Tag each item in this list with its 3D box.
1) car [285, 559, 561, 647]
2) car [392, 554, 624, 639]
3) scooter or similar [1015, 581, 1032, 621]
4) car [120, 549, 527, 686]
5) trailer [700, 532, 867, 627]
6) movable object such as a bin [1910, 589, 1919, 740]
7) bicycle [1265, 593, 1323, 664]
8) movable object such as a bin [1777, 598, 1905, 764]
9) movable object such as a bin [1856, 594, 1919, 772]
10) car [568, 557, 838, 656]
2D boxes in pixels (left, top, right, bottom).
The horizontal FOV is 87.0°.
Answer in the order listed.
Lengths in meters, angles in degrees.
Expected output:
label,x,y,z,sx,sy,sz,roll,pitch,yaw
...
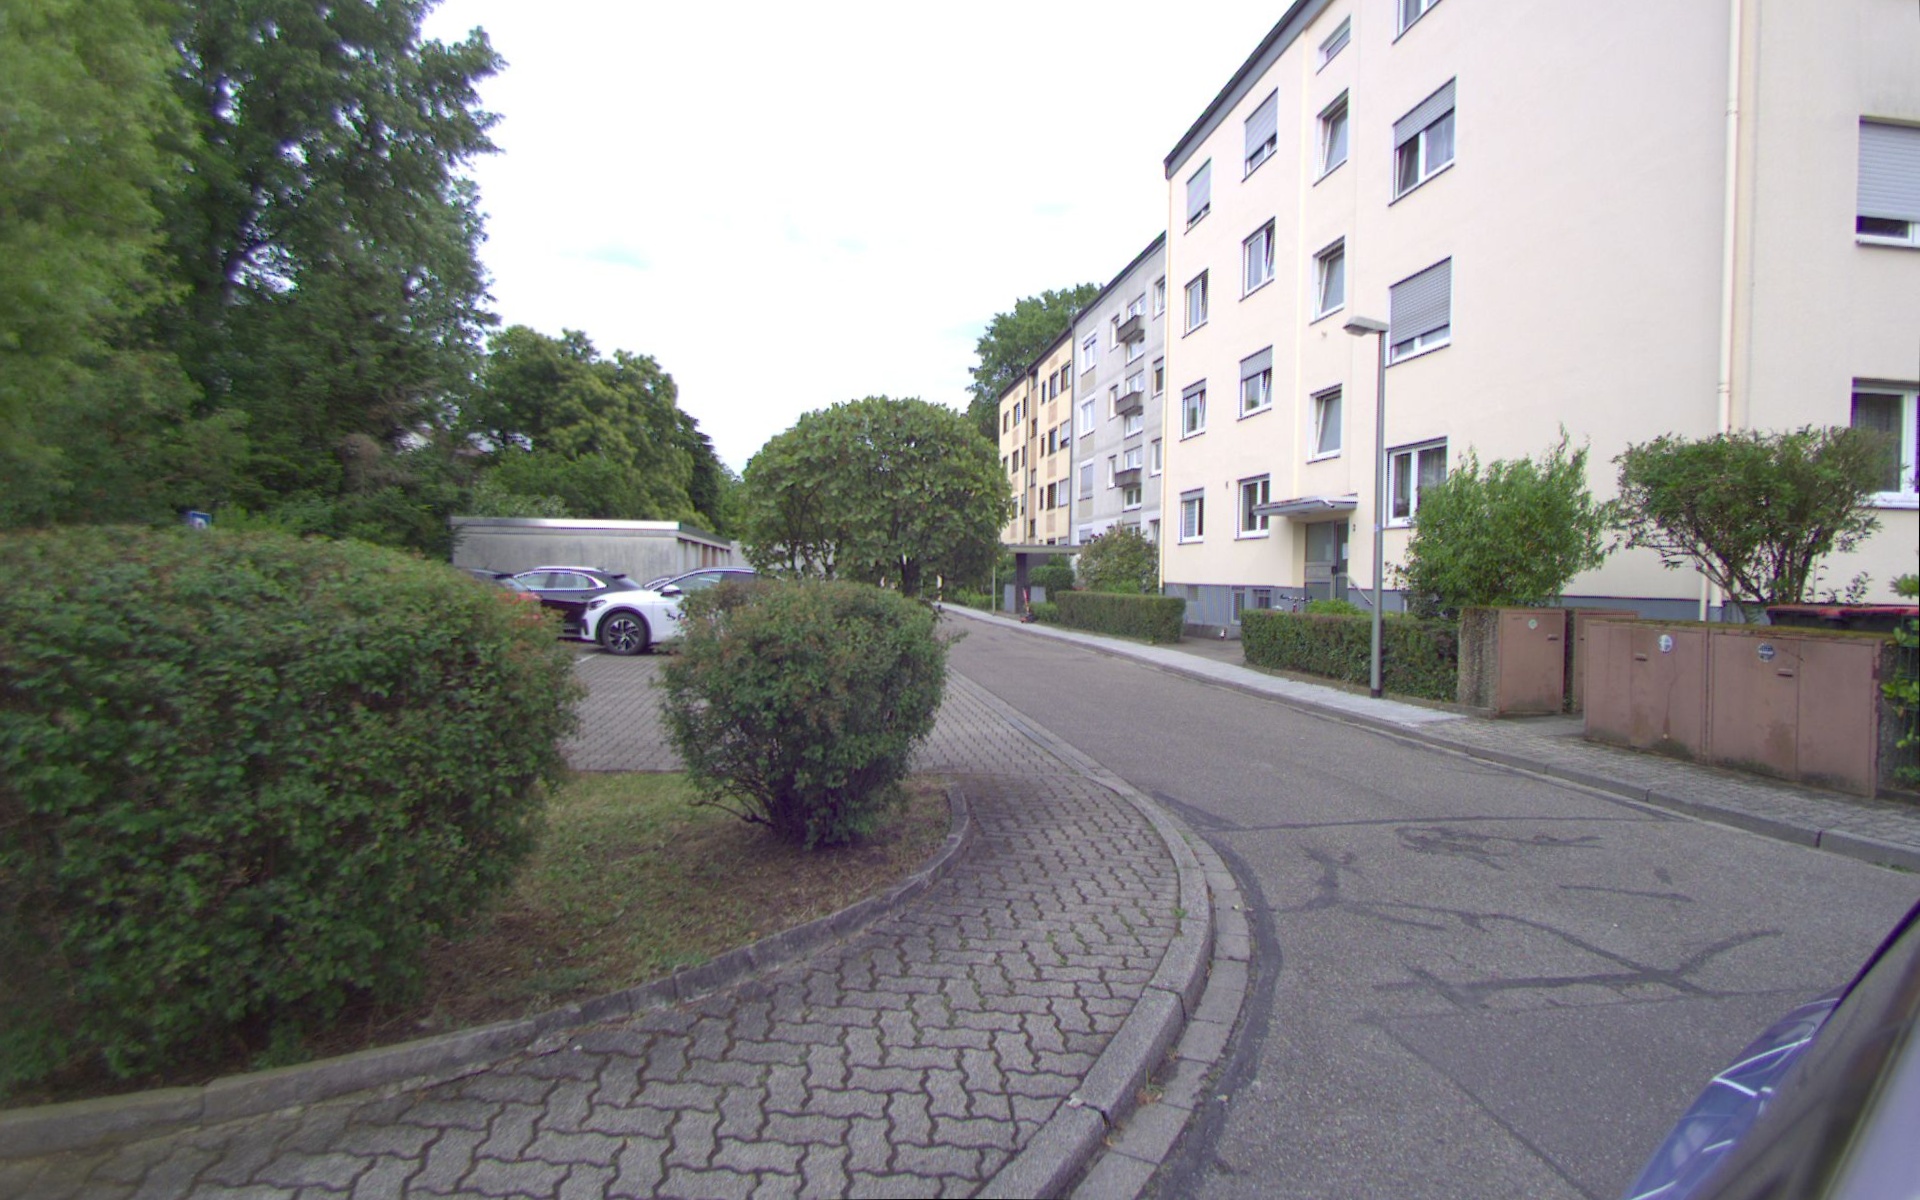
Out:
label,x,y,z,sx,sy,sz,roll,pitch,yaw
car,-9.264,0.047,17.764,3.830,1.398,1.975,1,1,-8
car,-8.894,-0.074,20.284,3.916,1.571,2.004,1,1,-12
scooter or similar,2.014,0.025,32.357,0.268,1.226,1.166,1,1,-9
car,-7.752,0.201,12.724,3.830,1.529,2.031,1,1,-8
trailer,-4.968,-0.575,28.884,4.530,2.556,1.946,0,1,-7
movable object such as a bin,7.946,0.533,7.908,0.496,1.202,0.516,2,1,-9
bicycle,5.470,0.443,16.644,0.312,1.089,1.420,0,2,-8
movable object such as a bin,6.712,0.598,7.724,0.496,1.202,0.516,1,1,-9
movable object such as a bin,6.803,0.578,7.108,0.496,1.202,0.516,2,1,-9
car,-4.477,0.102,18.262,4.460,1.608,1.991,1,1,-6
